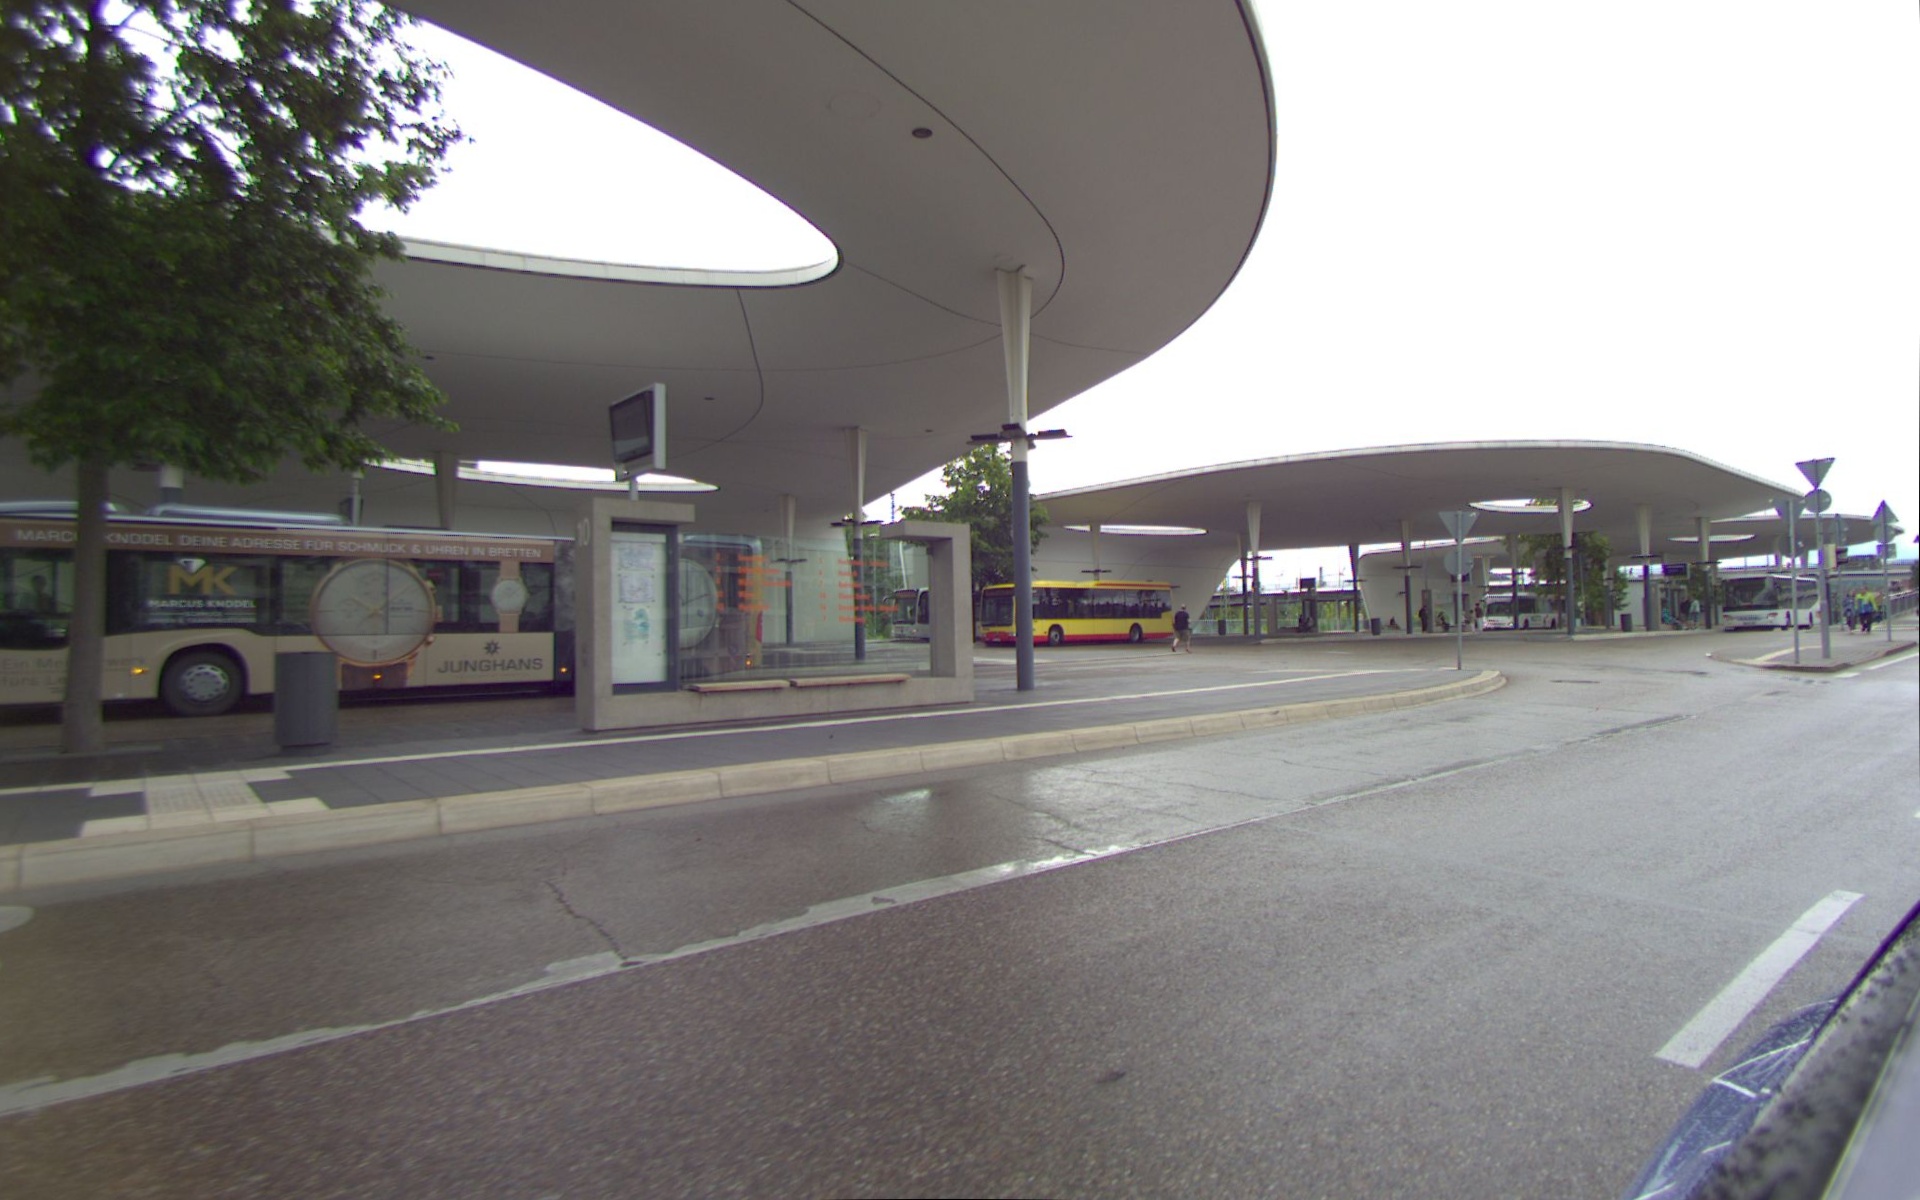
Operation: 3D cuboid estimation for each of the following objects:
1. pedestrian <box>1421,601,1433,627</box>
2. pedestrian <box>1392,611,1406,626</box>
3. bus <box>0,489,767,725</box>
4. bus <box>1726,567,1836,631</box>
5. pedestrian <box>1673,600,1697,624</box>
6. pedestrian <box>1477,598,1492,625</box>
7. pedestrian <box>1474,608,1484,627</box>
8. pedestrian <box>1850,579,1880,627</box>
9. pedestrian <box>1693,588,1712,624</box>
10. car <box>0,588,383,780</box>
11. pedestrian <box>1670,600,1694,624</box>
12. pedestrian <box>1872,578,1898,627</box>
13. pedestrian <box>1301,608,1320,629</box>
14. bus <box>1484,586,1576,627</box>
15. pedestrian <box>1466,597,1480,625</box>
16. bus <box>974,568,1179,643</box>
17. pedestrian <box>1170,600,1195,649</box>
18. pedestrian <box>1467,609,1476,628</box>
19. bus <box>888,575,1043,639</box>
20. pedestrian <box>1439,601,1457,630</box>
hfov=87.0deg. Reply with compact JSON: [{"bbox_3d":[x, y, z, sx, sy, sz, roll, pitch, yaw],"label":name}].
[{"bbox_3d":[27.050,0.815,58.616,0.513,1.521,0.380,-1,-1,11],"label":"pedestrian"},{"bbox_3d":[42.654,1.795,98.314,0.698,1.341,0.801,-4,-2,-35],"label":"pedestrian"},{"bbox_3d":[-9.300,0.088,17.683,11.874,3.082,2.726,0,-1,-40],"label":"bus"},{"bbox_3d":[48.035,-0.063,59.019,12.206,3.404,2.850,0,0,-41],"label":"bus"},{"bbox_3d":[39.328,0.642,54.910,0.944,1.271,0.643,1,-1,27],"label":"pedestrian"},{"bbox_3d":[32.550,0.698,62.804,0.632,1.676,0.638,-1,-1,10],"label":"pedestrian"},{"bbox_3d":[31.137,1.040,60.748,0.357,1.160,0.395,-1,-1,2],"label":"pedestrian"},{"bbox_3d":[32.900,0.108,36.796,0.571,1.691,0.590,-5,-1,-40],"label":"pedestrian"},{"bbox_3d":[40.110,0.331,54.694,0.636,1.911,0.587,2,-1,-30],"label":"pedestrian"},{"bbox_3d":[-7.165,0.668,9.093,3.181,1.472,1.649,1,-2,-42],"label":"car"},{"bbox_3d":[39.617,0.639,55.519,0.944,1.271,0.643,1,-1,27],"label":"pedestrian"},{"bbox_3d":[33.220,0.098,36.351,0.570,1.691,0.523,-3,-1,-40],"label":"pedestrian"},{"bbox_3d":[23.430,1.249,67.636,0.786,1.341,0.711,-4,-2,-32],"label":"pedestrian"},{"bbox_3d":[48.684,0.481,86.187,11.927,3.299,2.793,-1,-1,-40],"label":"bus"},{"bbox_3d":[31.558,0.687,62.259,0.546,1.676,0.571,0,-1,-34],"label":"pedestrian"},{"bbox_3d":[6.032,0.218,49.883,11.932,3.299,2.792,-1,-1,-42],"label":"bus"},{"bbox_3d":[8.030,0.867,36.534,0.712,1.705,1.013,0,0,24],"label":"pedestrian"},{"bbox_3d":[30.778,1.116,60.934,0.345,1.095,0.392,-1,-1,1],"label":"pedestrian"},{"bbox_3d":[0.489,0.344,58.290,9.687,3.443,2.518,0,-1,-42],"label":"bus"},{"bbox_3d":[28.772,0.915,59.687,0.667,1.610,0.588,-4,-3,-44],"label":"pedestrian"}]
